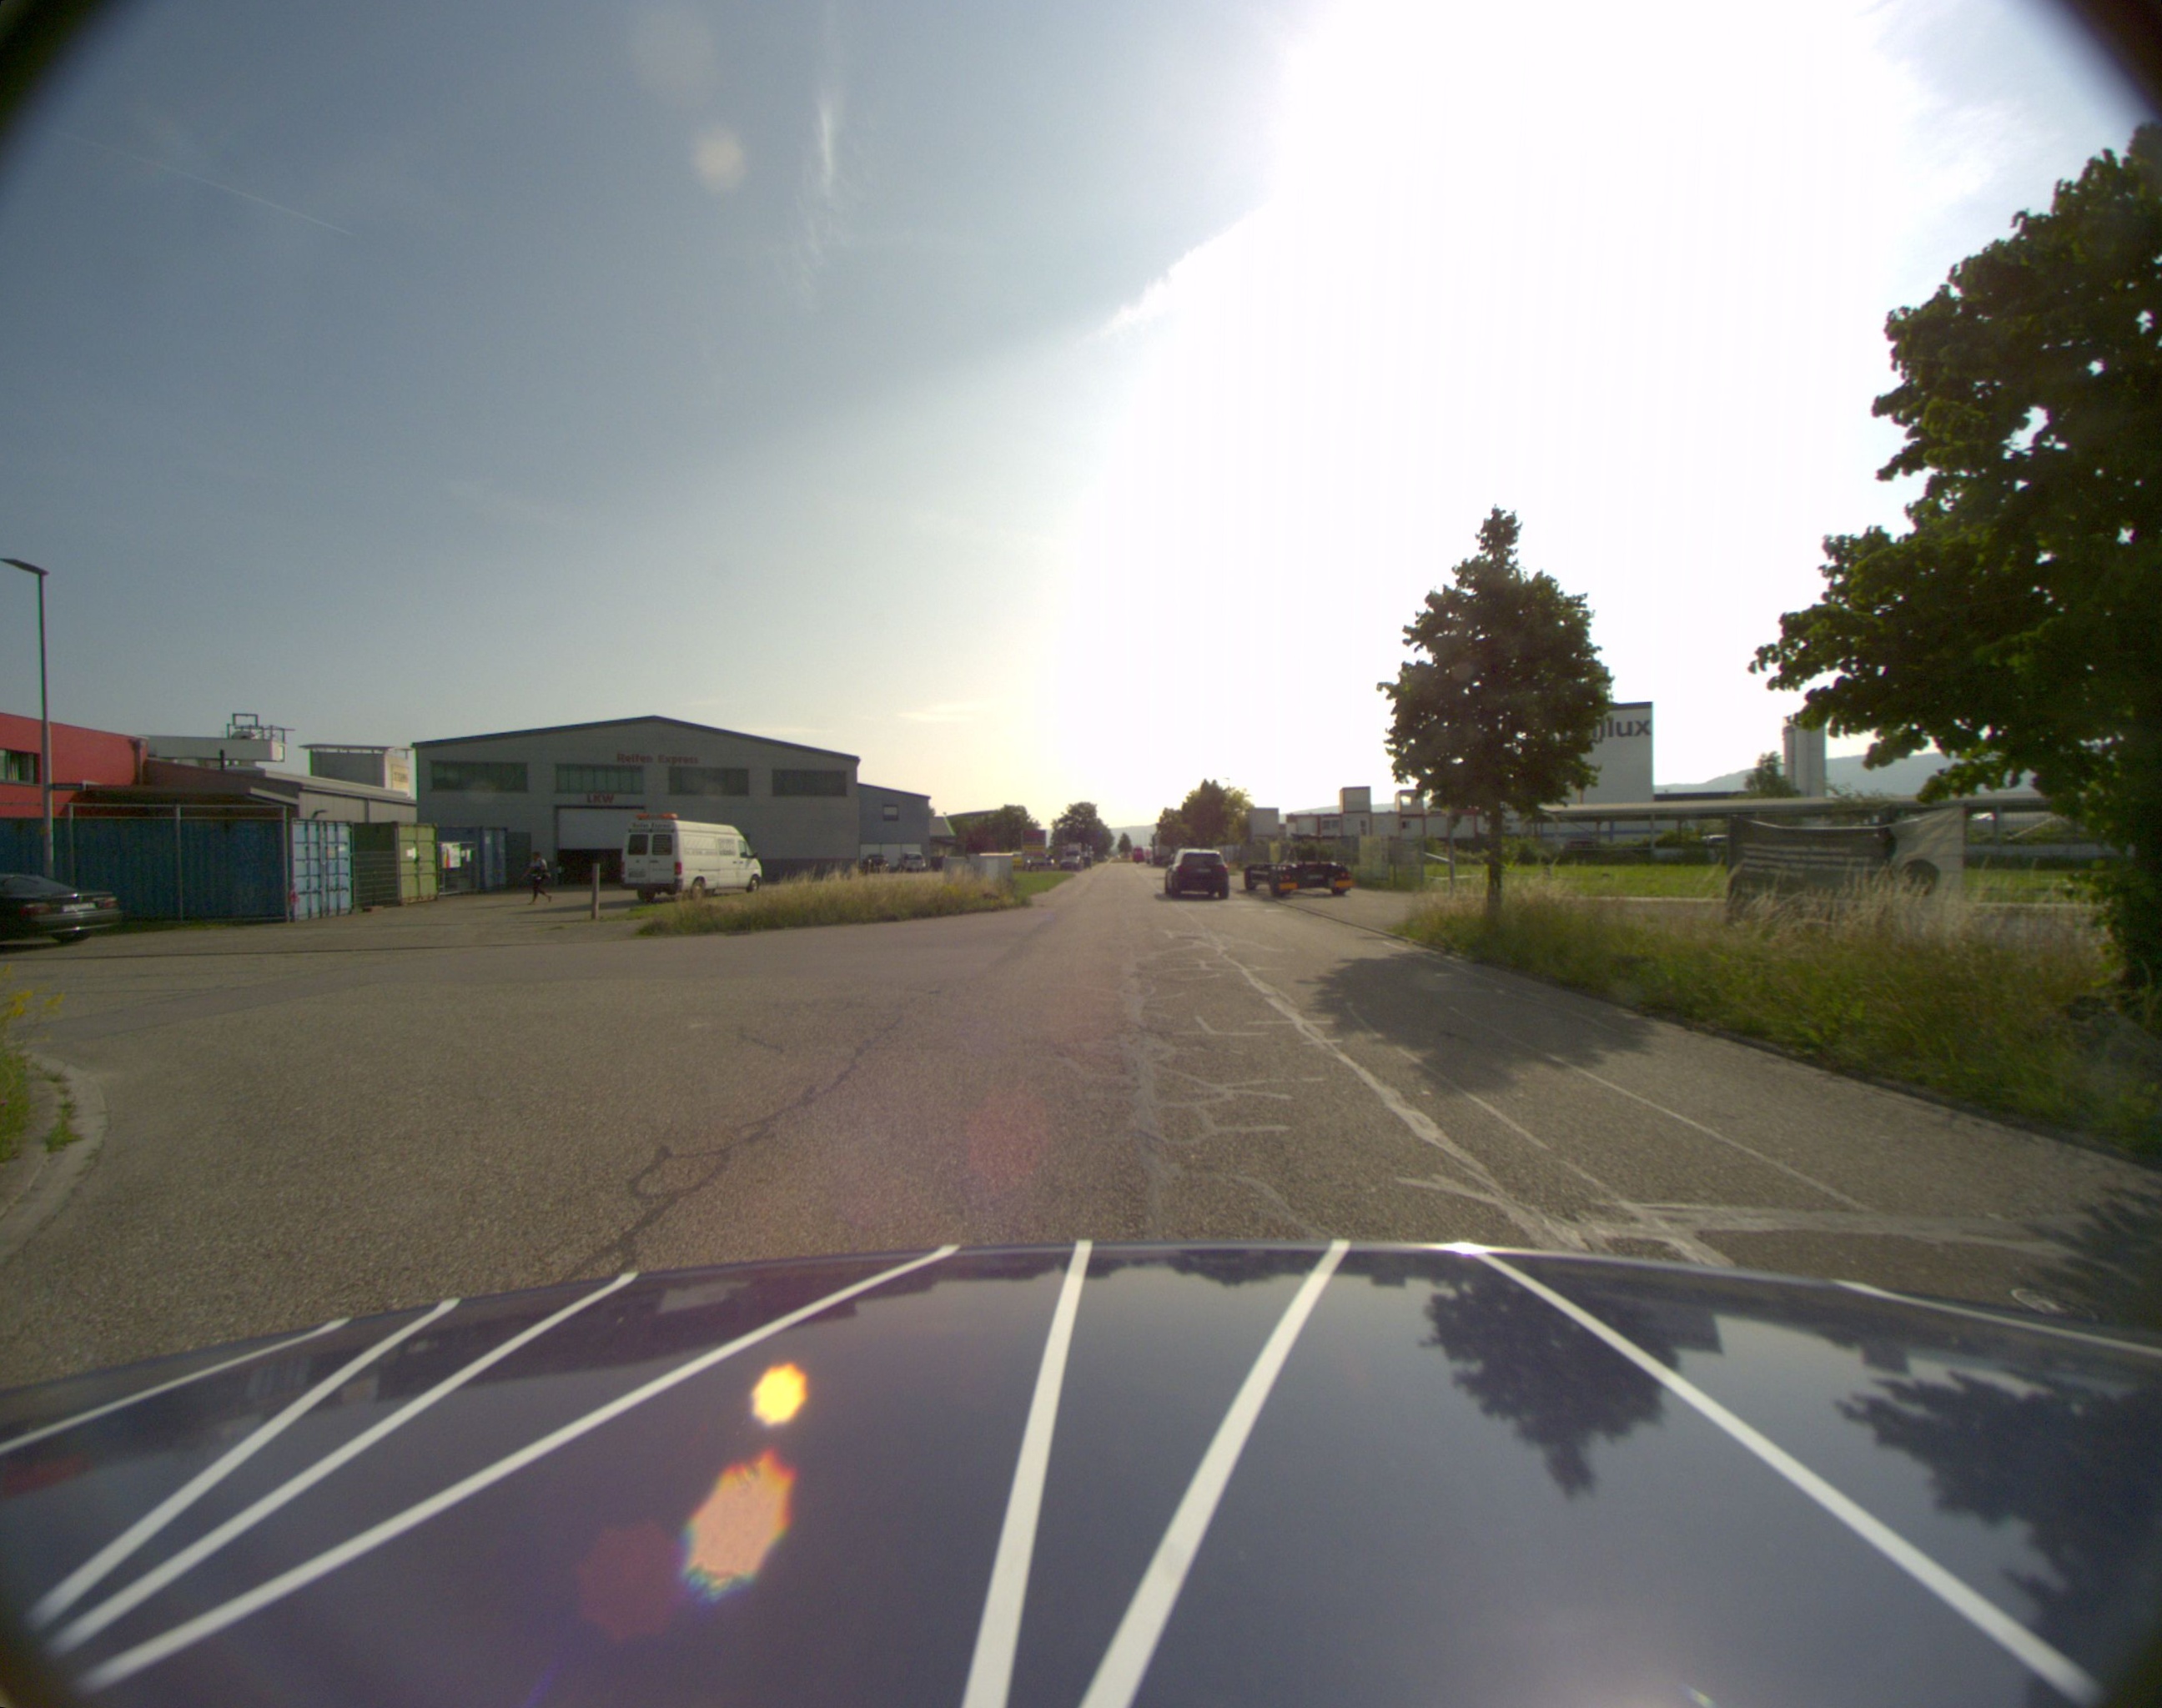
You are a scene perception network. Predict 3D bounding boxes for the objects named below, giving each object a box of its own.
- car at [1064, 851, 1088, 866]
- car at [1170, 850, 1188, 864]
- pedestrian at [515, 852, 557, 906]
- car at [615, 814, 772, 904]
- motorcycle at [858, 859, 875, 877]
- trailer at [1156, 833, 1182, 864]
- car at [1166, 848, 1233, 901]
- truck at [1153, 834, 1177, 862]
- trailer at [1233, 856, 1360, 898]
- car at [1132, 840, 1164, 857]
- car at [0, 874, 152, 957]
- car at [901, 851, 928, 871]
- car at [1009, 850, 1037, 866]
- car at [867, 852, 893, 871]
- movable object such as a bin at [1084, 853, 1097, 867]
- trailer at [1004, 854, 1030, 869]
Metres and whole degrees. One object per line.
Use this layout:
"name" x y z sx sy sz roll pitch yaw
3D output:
"car" -0.427 0.415 70.228 1.677 1.361 4.396 -1 0 8
"car" 10.420 0.304 80.976 1.691 1.461 4.094 -1 0 4
"pedestrian" -16.913 0.769 23.580 0.703 1.630 0.750 -1 1 19
"car" -12.838 0.139 25.764 1.978 2.690 5.882 -1 0 4
"motorcycle" -13.434 0.843 47.594 0.804 1.088 2.198 -1 0 -21
"trailer" 11.636 -0.727 101.065 2.706 3.862 9.767 -2 0 4
"car" 4.077 0.649 26.726 1.860 1.705 4.227 1 0 3
"truck" 12.154 -0.845 110.676 2.719 3.862 9.637 -2 0 3
"trailer" 7.855 0.764 29.121 2.588 1.177 9.364 -2 0 3
"car" 10.552 -0.949 119.270 2.275 2.524 6.757 -2 0 30
"car" -21.260 1.164 14.450 4.472 1.401 1.809 -1 1 -8
"car" -13.201 0.536 60.041 1.640 1.559 3.799 -1 0 -18
"car" -5.966 0.409 78.095 1.722 1.563 4.125 -1 0 -21
"car" -15.590 0.593 58.747 1.683 1.394 3.705 -1 0 -18
"movable object such as a bin" 0.963 0.593 76.769 1.083 1.345 1.506 2 1 6
"trailer" -5.710 0.688 67.243 1.496 1.241 2.972 -2 0 -20
